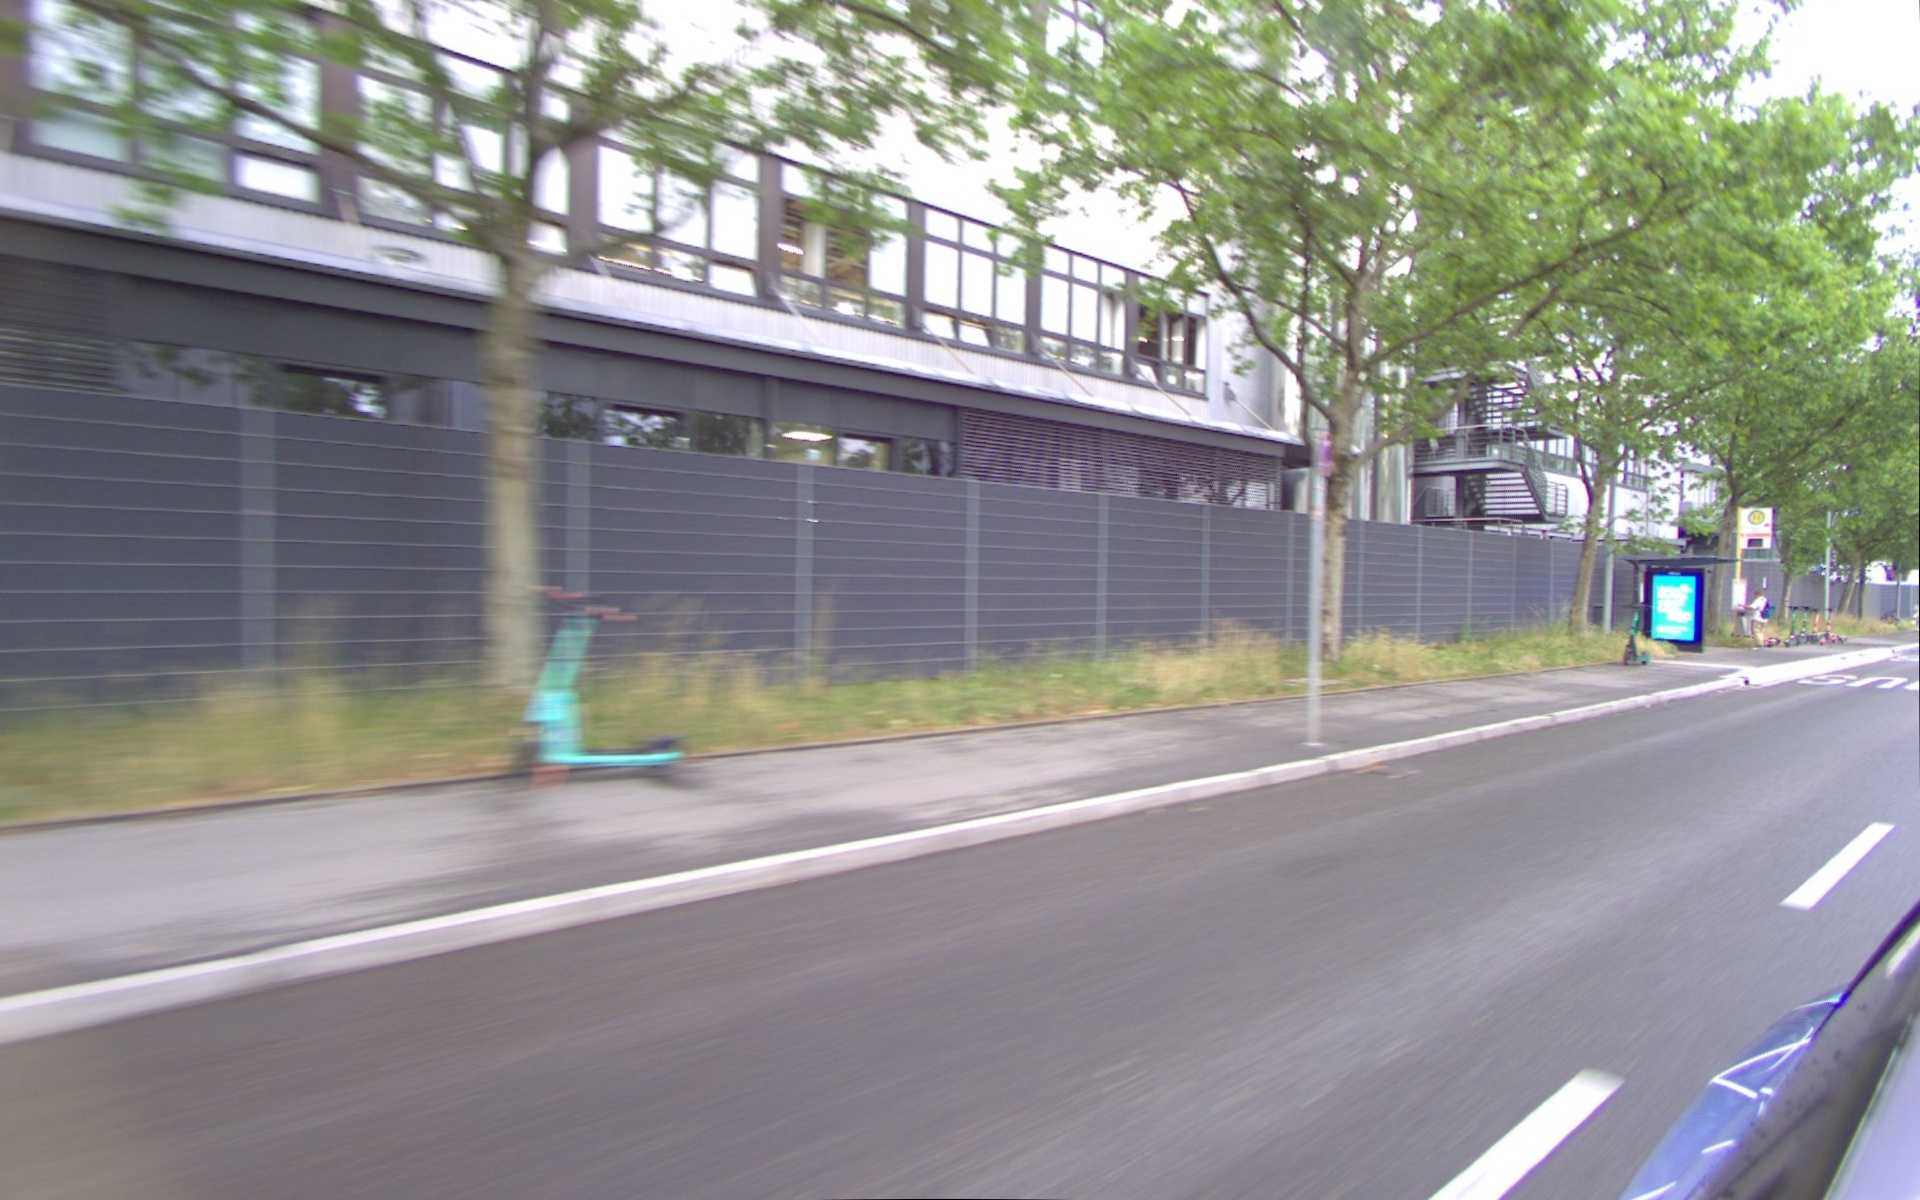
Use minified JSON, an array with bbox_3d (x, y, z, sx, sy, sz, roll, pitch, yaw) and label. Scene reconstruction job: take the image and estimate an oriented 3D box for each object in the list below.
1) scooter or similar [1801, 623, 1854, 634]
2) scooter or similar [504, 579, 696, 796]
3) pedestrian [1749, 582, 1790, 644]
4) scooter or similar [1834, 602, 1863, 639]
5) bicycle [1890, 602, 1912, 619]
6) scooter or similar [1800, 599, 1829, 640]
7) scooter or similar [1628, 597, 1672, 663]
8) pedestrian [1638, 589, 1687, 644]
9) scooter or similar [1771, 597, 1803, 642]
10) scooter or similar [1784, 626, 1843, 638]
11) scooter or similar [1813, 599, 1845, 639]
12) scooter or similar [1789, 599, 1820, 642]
[{"bbox_3d":[32.468,1.068,37.906,1.168,0.315,1.194,2,1,21],"label":"scooter or similar"},{"bbox_3d":[-2.275,0.520,6.433,1.087,1.285,0.330,0,1,-32],"label":"scooter or similar"},{"bbox_3d":[23.284,0.361,29.109,0.717,1.731,0.777,0,1,-41],"label":"pedestrian"},{"bbox_3d":[32.114,0.716,36.574,1.275,1.301,0.437,0,1,-34],"label":"scooter or similar"},{"bbox_3d":[52.248,0.577,56.184,1.872,0.886,0.726,-1,1,-42],"label":"bicycle"},{"bbox_3d":[27.742,0.621,32.869,1.276,1.311,0.437,0,1,-38],"label":"scooter or similar"},{"bbox_3d":[14.232,0.601,20.872,1.222,1.325,0.329,0,1,-36],"label":"scooter or similar"},{"bbox_3d":[19.043,0.442,27.453,0.686,1.433,0.932,0,1,-41],"label":"pedestrian"},{"bbox_3d":[24.975,0.584,30.556,1.276,1.311,0.437,0,1,-38],"label":"scooter or similar"},{"bbox_3d":[30.517,1.135,36.204,1.231,0.349,1.104,1,1,-17],"label":"scooter or similar"},{"bbox_3d":[29.236,0.626,34.029,1.340,1.311,0.437,0,1,-34],"label":"scooter or similar"},{"bbox_3d":[26.198,0.618,31.390,1.276,1.311,0.437,0,1,-38],"label":"scooter or similar"}]
